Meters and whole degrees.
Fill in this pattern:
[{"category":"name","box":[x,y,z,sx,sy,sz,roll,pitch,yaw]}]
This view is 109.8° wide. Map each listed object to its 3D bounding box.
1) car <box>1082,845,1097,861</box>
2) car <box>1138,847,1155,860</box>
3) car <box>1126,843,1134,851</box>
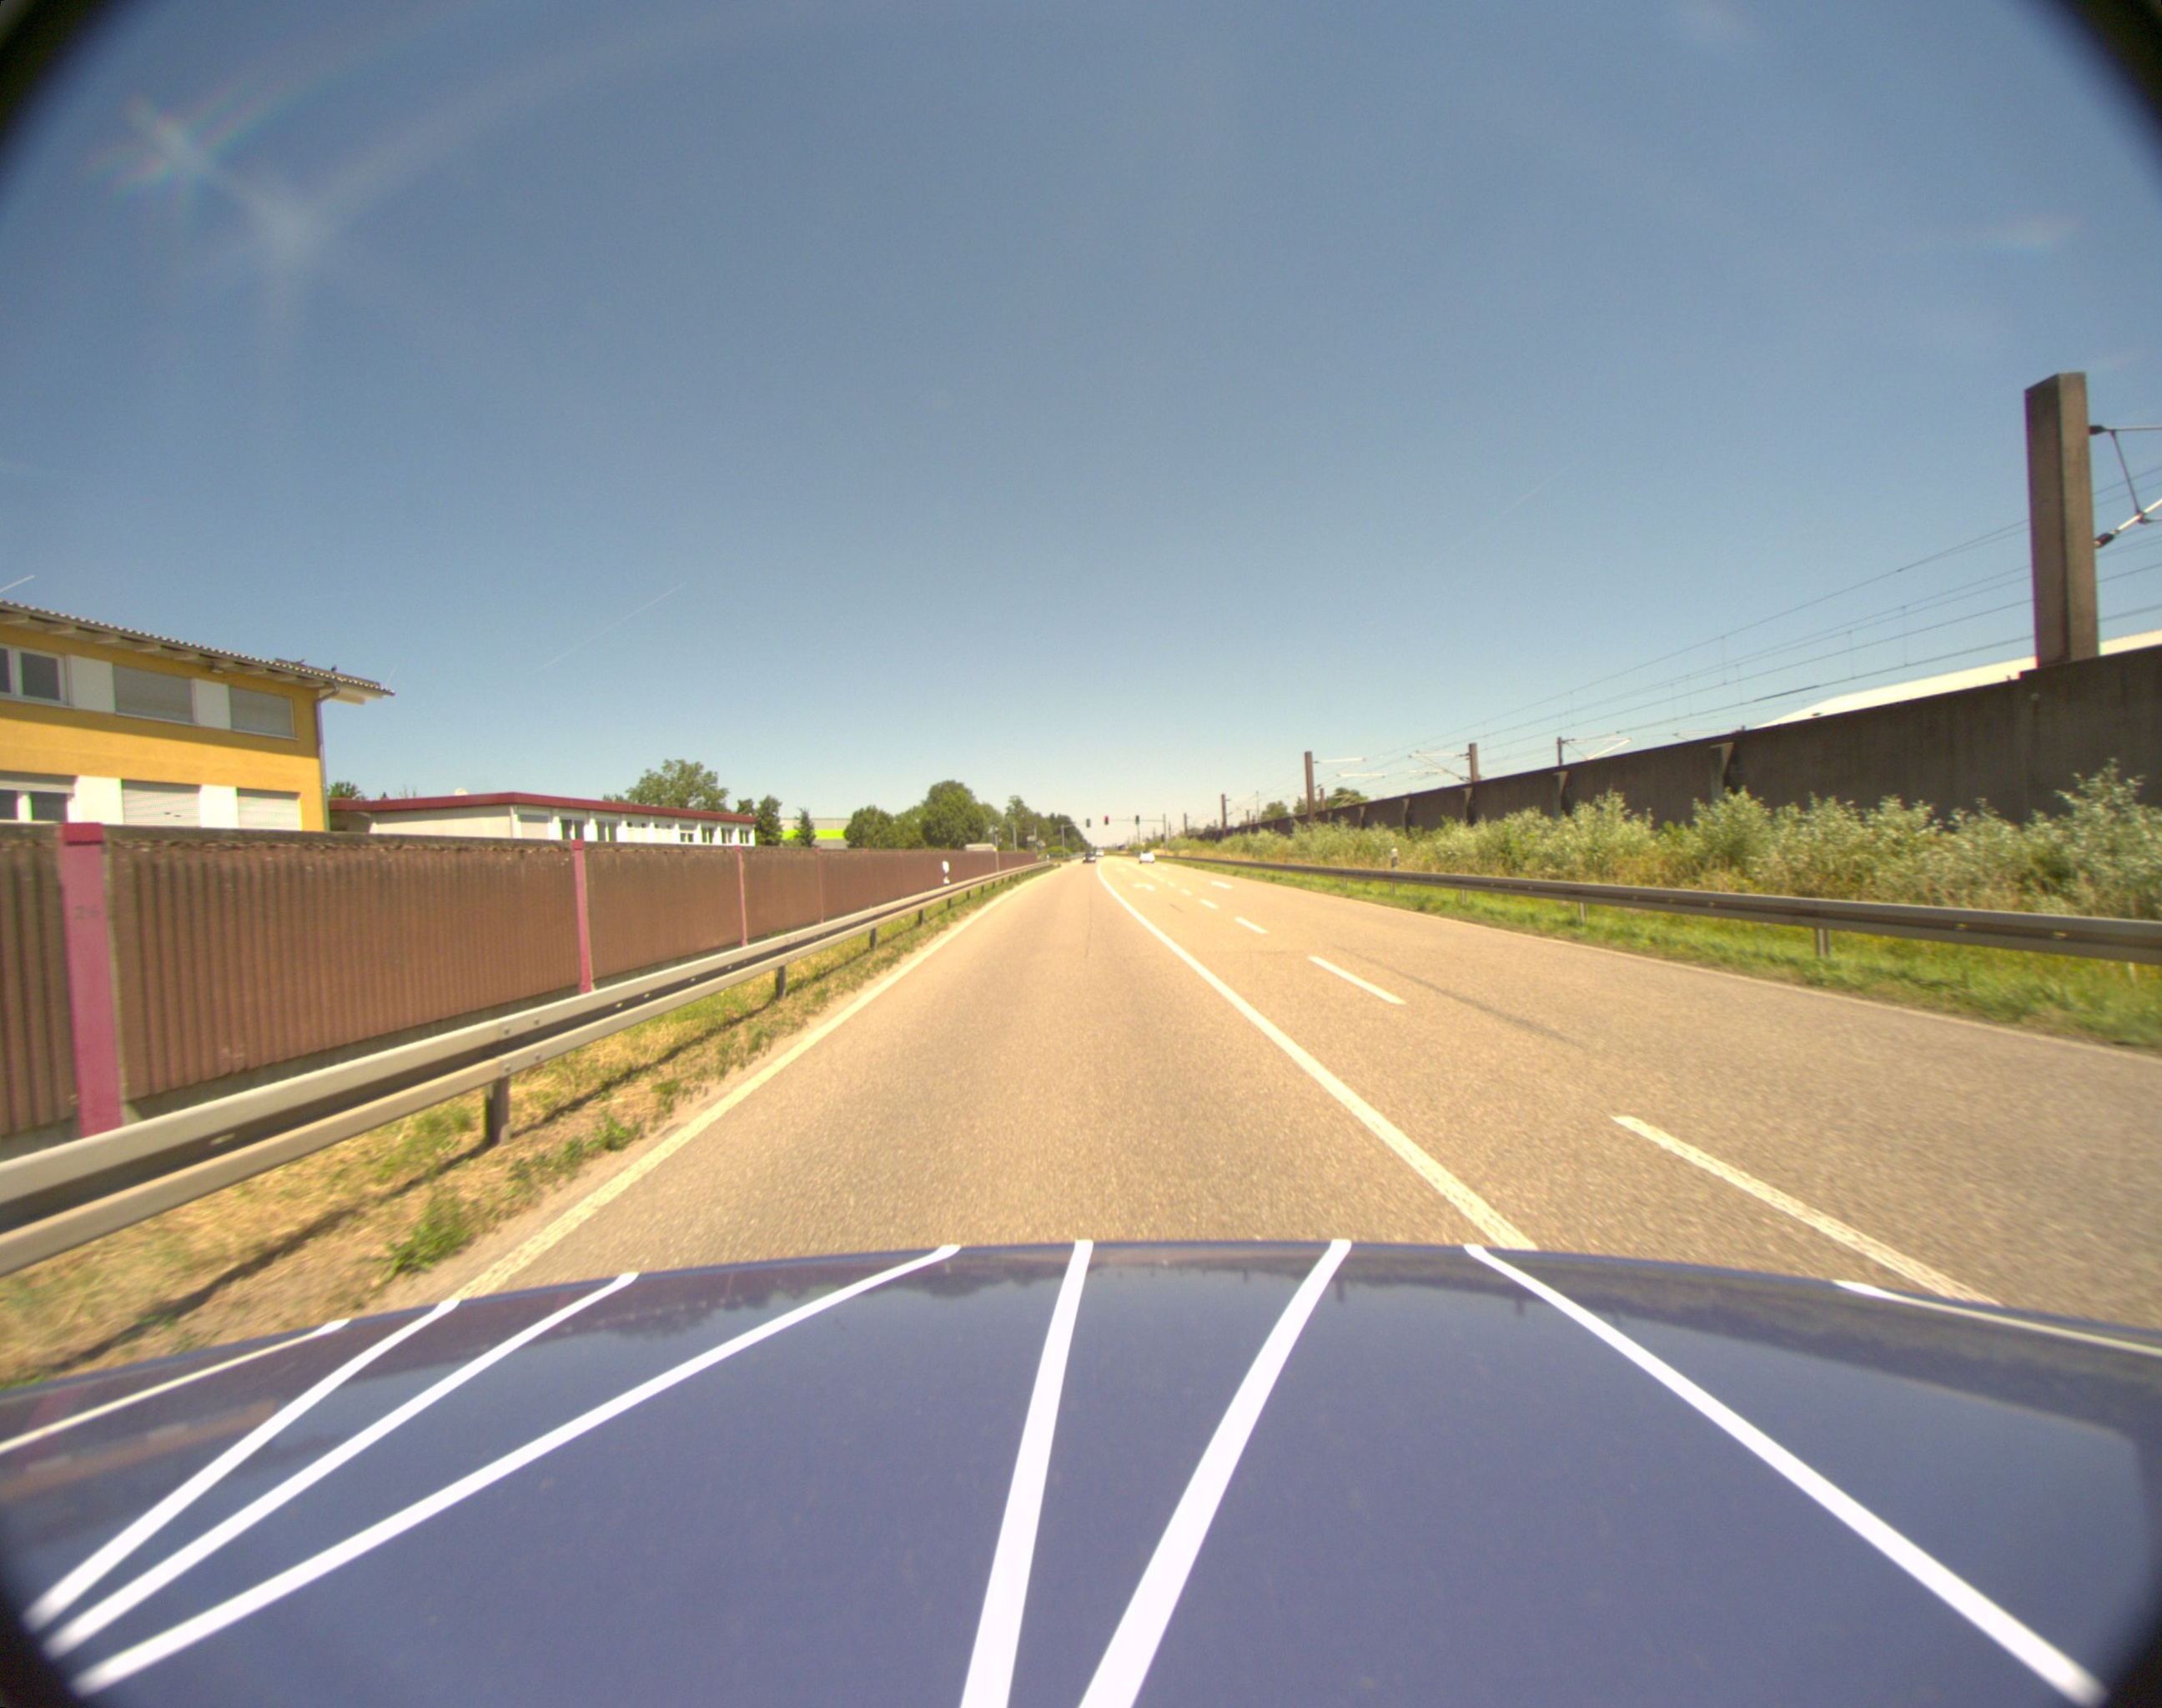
[{"category":"car","box":[1.186,-0.161,104.303,1.998,2.002,3.999,-2,1,0]},{"category":"car","box":[7.599,-0.110,88.259,1.600,1.466,3.773,-2,1,0]},{"category":"car","box":[13.148,-1.944,203.748,1.998,2.002,4.000,-2,1,1]}]
